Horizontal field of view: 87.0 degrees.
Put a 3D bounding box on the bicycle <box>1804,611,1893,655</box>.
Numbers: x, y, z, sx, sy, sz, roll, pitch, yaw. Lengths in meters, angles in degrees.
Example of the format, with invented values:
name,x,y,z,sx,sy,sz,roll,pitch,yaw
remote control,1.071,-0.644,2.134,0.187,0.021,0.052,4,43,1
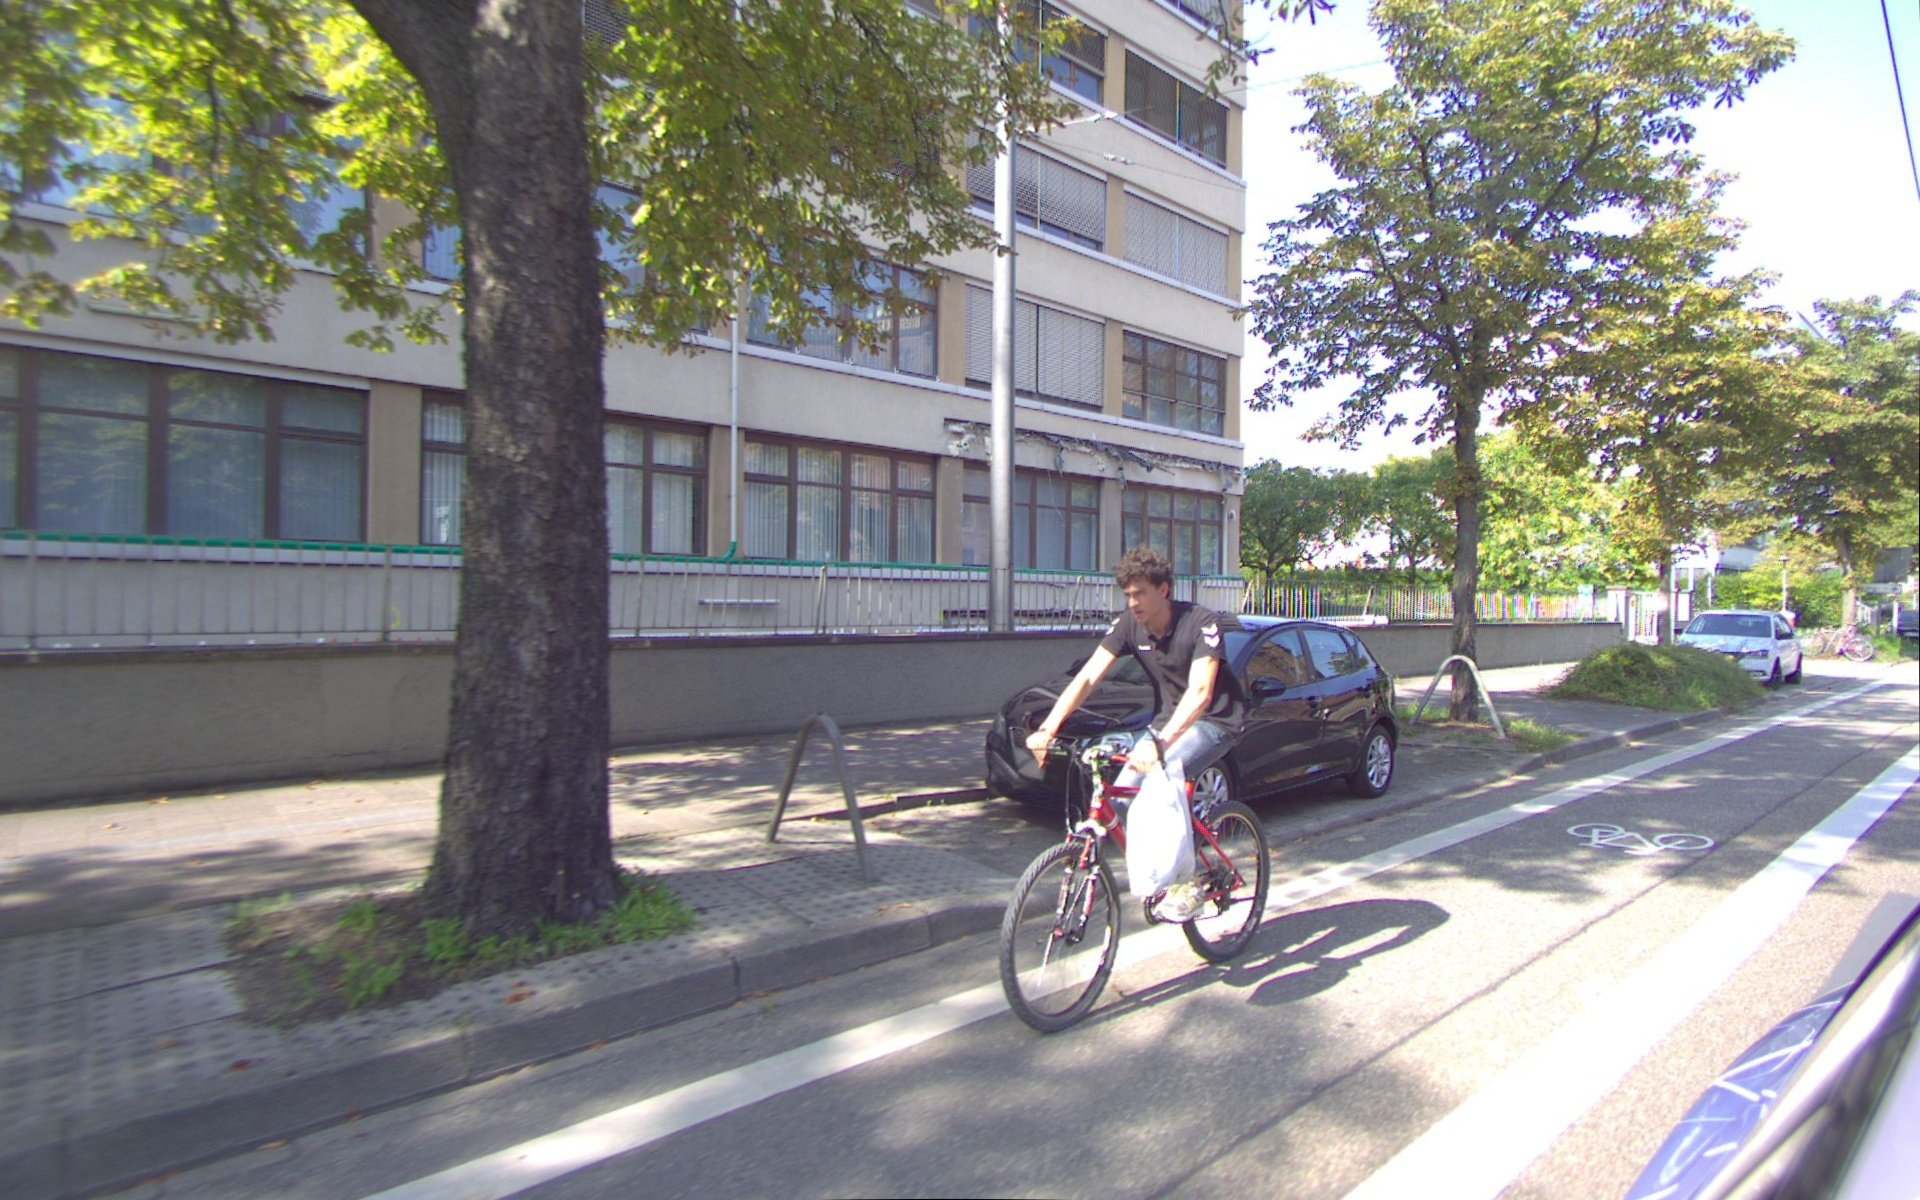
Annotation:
name,x,y,z,sx,sy,sz,roll,pitch,yaw
bicycle,24.729,0.898,28.196,0.783,1.077,1.771,0,2,-42

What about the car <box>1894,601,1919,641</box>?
name,x,y,z,sx,sy,sz,roll,pitch,yaw
car,38.057,0.845,39.690,4.361,1.504,1.743,1,1,-43

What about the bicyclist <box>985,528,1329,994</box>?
name,x,y,z,sx,sy,sz,roll,pitch,yaw
bicyclist,0.767,0.512,3.894,1.096,1.488,0.788,0,0,-39

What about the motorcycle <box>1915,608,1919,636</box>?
name,x,y,z,sx,sy,sz,roll,pitch,yaw
motorcycle,43.435,1.004,44.520,0.632,1.240,1.993,0,0,-16

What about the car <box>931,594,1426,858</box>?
name,x,y,z,sx,sy,sz,roll,pitch,yaw
car,1.841,0.718,7.703,4.015,1.446,1.648,0,2,-42

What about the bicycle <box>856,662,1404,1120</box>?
name,x,y,z,sx,sy,sz,roll,pitch,yaw
bicycle,0.763,0.882,3.882,2.263,1.159,0.788,0,0,-39

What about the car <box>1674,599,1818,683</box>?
name,x,y,z,sx,sy,sz,roll,pitch,yaw
car,15.551,0.731,19.955,3.922,1.448,1.642,0,1,-43
